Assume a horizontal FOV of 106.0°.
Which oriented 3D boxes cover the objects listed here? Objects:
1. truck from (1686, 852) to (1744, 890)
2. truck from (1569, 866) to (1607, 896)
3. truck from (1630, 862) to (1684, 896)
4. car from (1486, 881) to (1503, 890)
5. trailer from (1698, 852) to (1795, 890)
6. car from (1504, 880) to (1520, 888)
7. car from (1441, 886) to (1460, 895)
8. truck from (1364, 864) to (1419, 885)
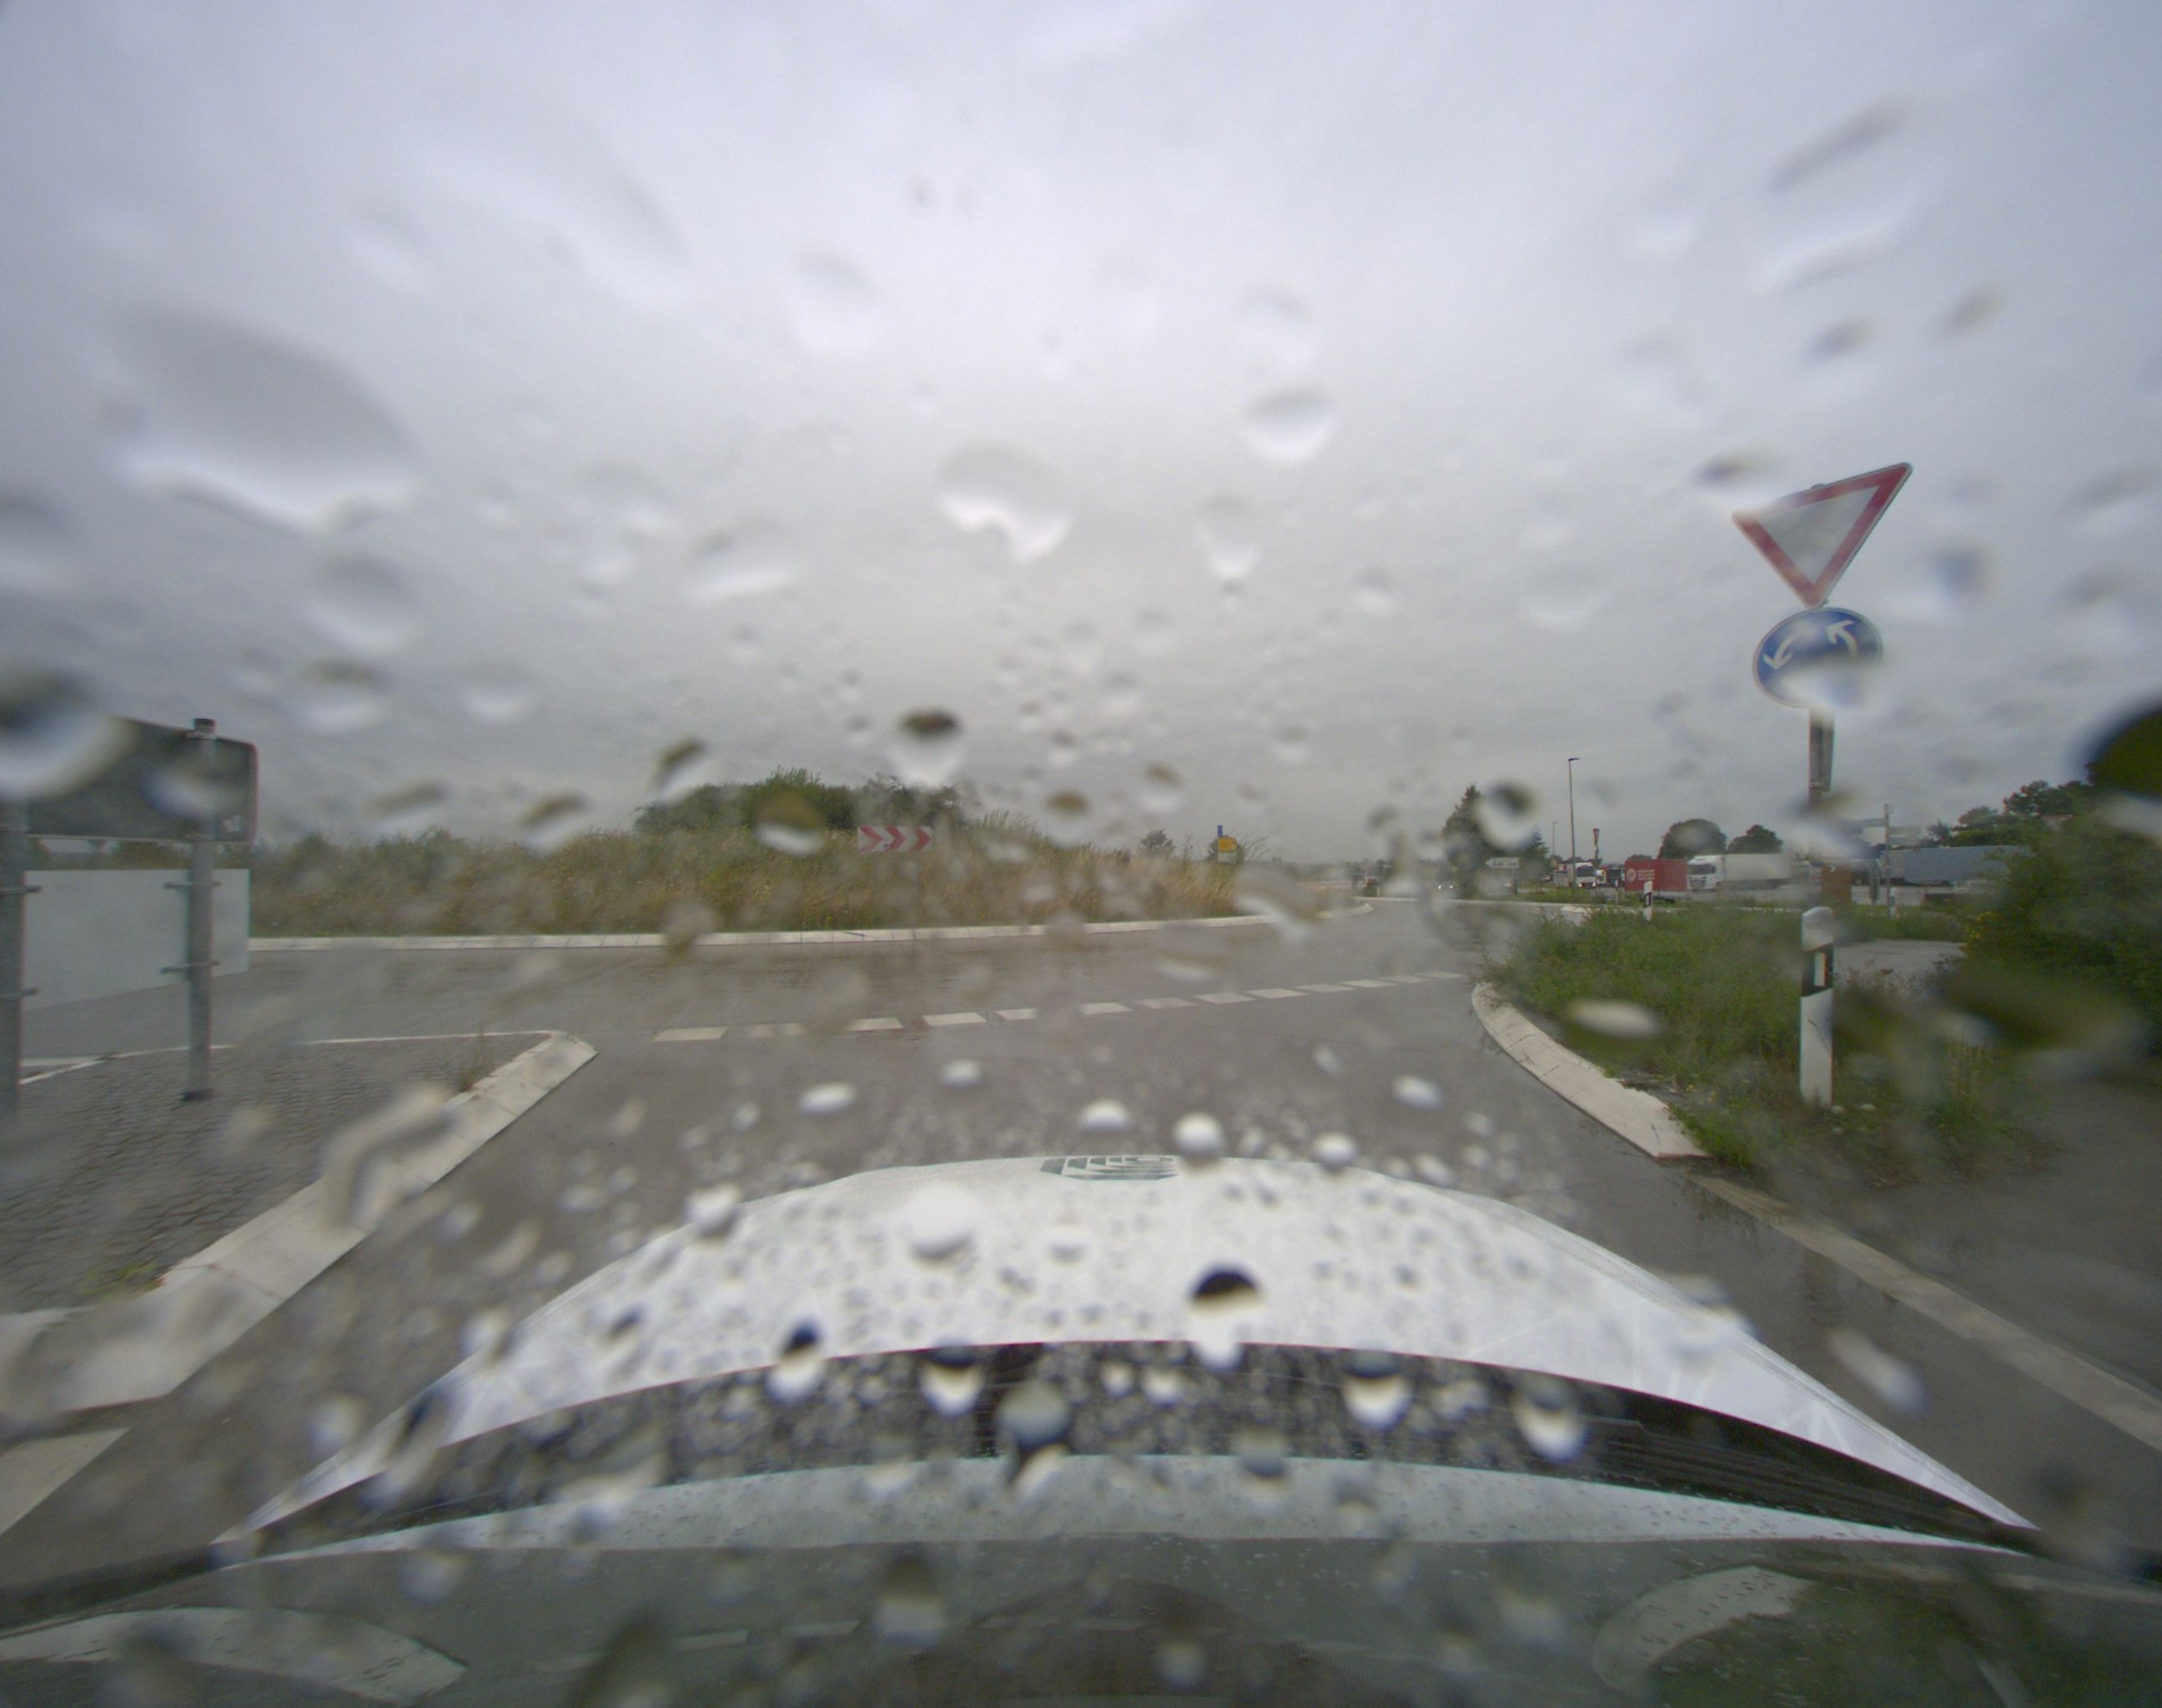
[{"bbox_3d":[68.391,1.895,87.841,4.470,3.948,3.255,1,-3,-27],"label":"truck"},{"bbox_3d":[75.392,4.092,121.253,2.875,4.290,8.854,-1,-3,19],"label":"truck"},{"bbox_3d":[84.937,3.689,120.061,11.248,4.737,3.317,2,-3,-38],"label":"truck"},{"bbox_3d":[57.832,4.421,113.838,1.344,1.211,3.247,-1,-3,13],"label":"car"},{"bbox_3d":[74.414,1.947,90.911,13.162,3.948,3.255,1,-3,-27],"label":"trailer"},{"bbox_3d":[66.356,4.681,125.500,1.344,1.211,3.247,-1,-3,13],"label":"car"},{"bbox_3d":[49.278,4.869,108.563,1.515,1.211,3.635,-2,-3,39],"label":"car"},{"bbox_3d":[33.945,2.230,88.969,2.487,2.223,8.461,-3,-3,43],"label":"truck"}]
